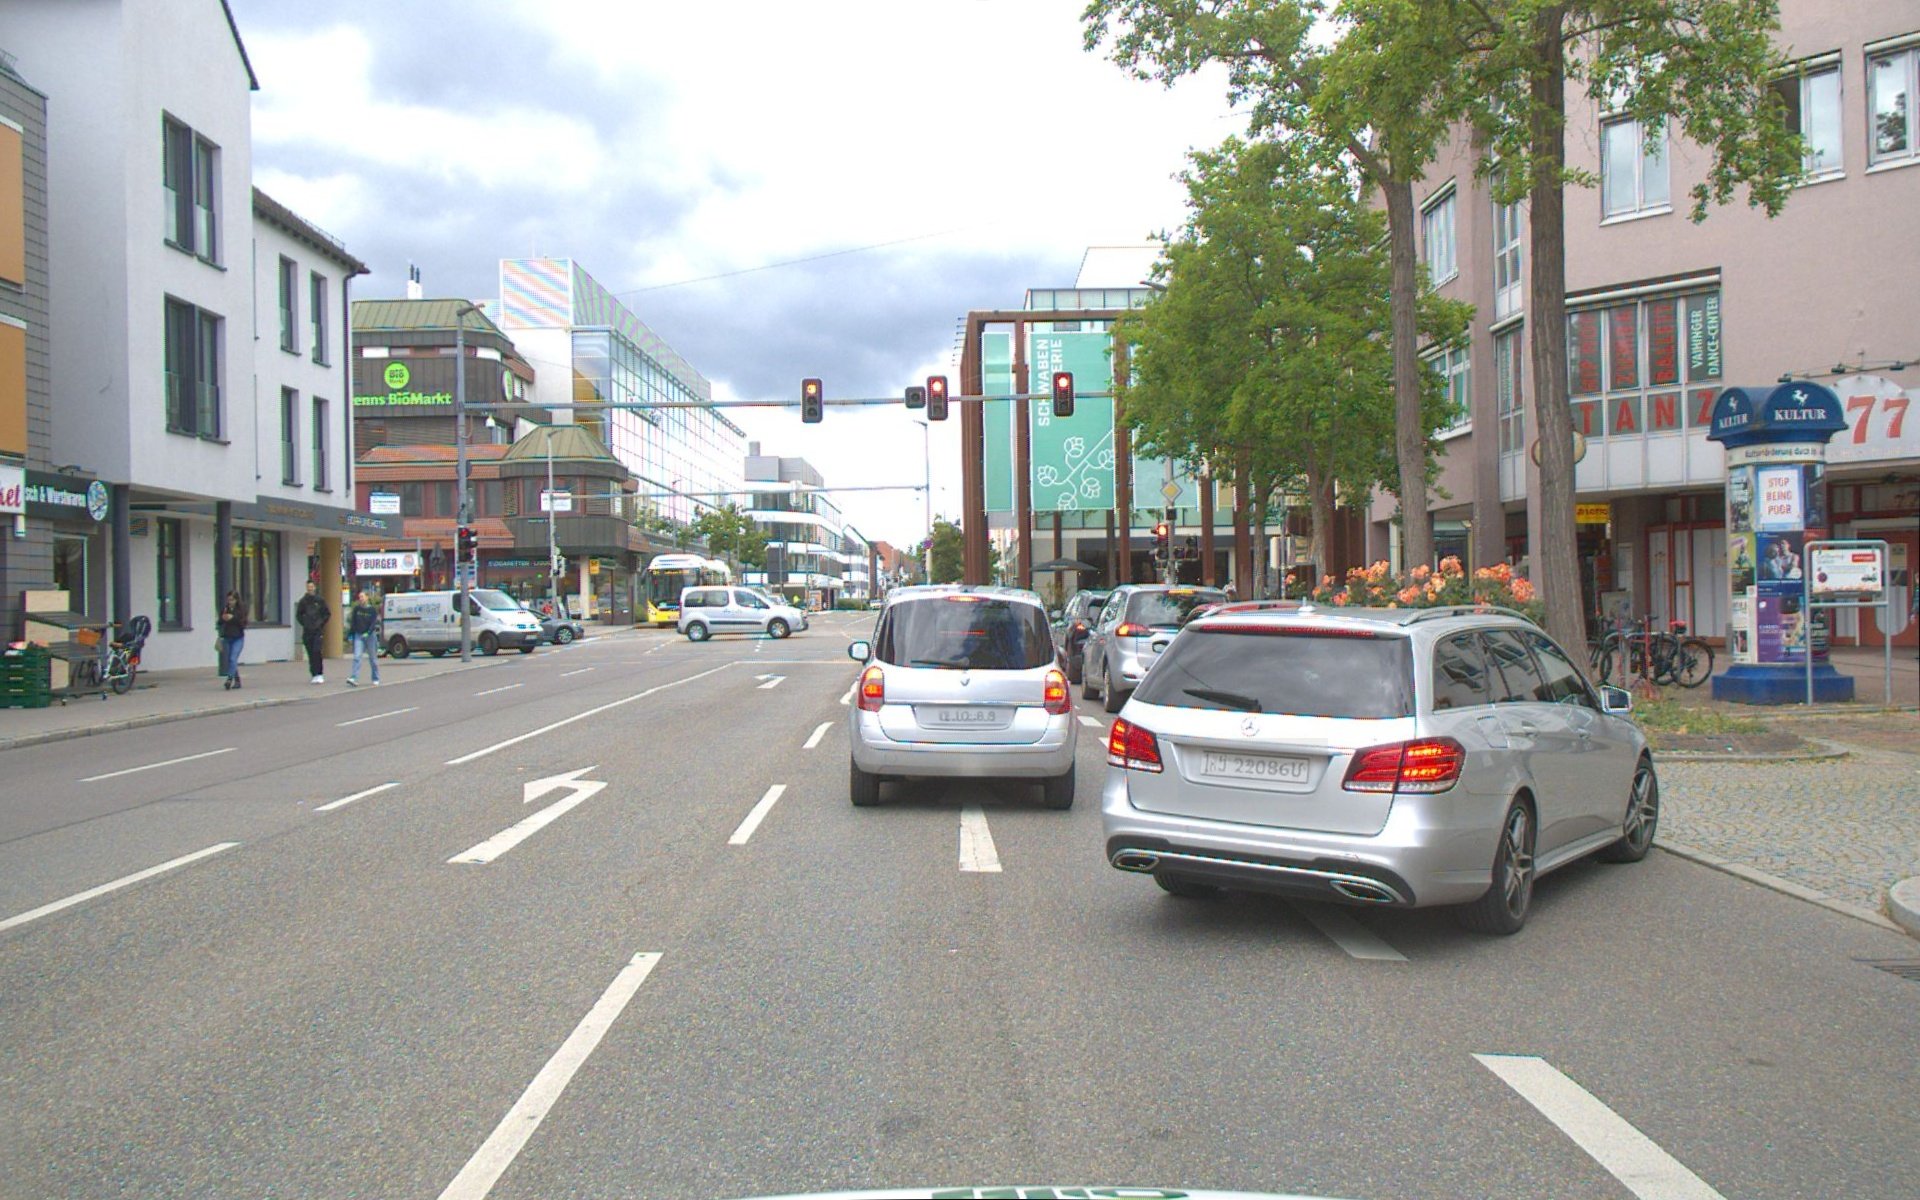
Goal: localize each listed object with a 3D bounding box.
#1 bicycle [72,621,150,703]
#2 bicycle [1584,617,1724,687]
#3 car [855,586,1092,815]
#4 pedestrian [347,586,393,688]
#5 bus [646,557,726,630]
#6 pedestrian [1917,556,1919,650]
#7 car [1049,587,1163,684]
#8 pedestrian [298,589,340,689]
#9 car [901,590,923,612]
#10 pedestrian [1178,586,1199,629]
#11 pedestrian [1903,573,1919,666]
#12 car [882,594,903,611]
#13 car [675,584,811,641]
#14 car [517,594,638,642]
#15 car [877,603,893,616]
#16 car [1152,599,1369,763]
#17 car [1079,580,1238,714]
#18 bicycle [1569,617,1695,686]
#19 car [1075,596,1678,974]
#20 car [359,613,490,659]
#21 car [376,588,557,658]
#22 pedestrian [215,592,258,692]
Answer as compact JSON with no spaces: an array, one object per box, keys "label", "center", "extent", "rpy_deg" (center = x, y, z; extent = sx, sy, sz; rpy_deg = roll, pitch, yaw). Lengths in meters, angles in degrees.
[{"label":"bicycle","center":[-13.399,0.962,26.142],"extent":[0.378,1.207,1.824],"rpy_deg":[-1,0,-4]},{"label":"bicycle","center":[10.357,0.773,24.706],"extent":[1.861,1.014,0.468],"rpy_deg":[-1,0,3]},{"label":"car","center":[0.065,0.677,12.958],"extent":[1.606,1.554,3.393],"rpy_deg":[0,0,-1]},{"label":"pedestrian","center":[-10.709,0.666,30.031],"extent":[0.669,1.821,0.647],"rpy_deg":[-1,0,-11]},{"label":"bus","center":[-13.122,-0.325,79.799],"extent":[2.632,3.318,8.650],"rpy_deg":[-1,0,-2]},{"label":"pedestrian","center":[16.660,0.040,28.035],"extent":[0.611,1.591,0.660],"rpy_deg":[-1,0,45]},{"label":"car","center":[2.584,0.594,29.953],"extent":[1.555,1.623,3.866],"rpy_deg":[1,0,-2]},{"label":"pedestrian","center":[-11.753,0.702,30.351],"extent":[0.558,1.806,0.646],"rpy_deg":[-1,0,-7]},{"label":"car","center":[-4.455,0.057,153.500],"extent":[1.953,1.983,4.949],"rpy_deg":[-1,0,-2]},{"label":"pedestrian","center":[9.016,0.305,65.278],"extent":[0.641,1.679,0.557],"rpy_deg":[-1,0,-15]},{"label":"pedestrian","center":[16.120,0.314,27.523],"extent":[0.611,1.542,0.607],"rpy_deg":[-1,0,43]},{"label":"car","center":[-6.579,0.218,161.935],"extent":[1.764,1.567,4.065],"rpy_deg":[-1,0,1]},{"label":"car","center":[-7.158,0.402,54.765],"extent":[4.296,1.804,1.327],"rpy_deg":[-1,0,-1]},{"label":"car","center":[-14.215,0.656,61.680],"extent":[1.885,1.706,4.225],"rpy_deg":[-1,0,36]},{"label":"car","center":[-9.688,1.224,213.424],"extent":[1.764,1.567,4.065],"rpy_deg":[-1,0,1]},{"label":"car","center":[2.962,0.746,16.883],"extent":[1.554,1.468,3.348],"rpy_deg":[1,0,-1]},{"label":"car","center":[2.642,0.587,22.776],"extent":[1.555,1.662,3.914],"rpy_deg":[1,0,-2]},{"label":"bicycle","center":[10.254,0.790,25.259],"extent":[1.731,1.014,0.447],"rpy_deg":[-1,0,3]},{"label":"car","center":[2.480,0.761,8.896],"extent":[1.783,1.474,4.355],"rpy_deg":[1,0,34]},{"label":"car","center":[-17.666,1.183,54.692],"extent":[3.752,1.413,1.684],"rpy_deg":[-1,0,0]},{"label":"car","center":[-14.870,0.691,49.836],"extent":[5.036,1.921,2.000],"rpy_deg":[-2,0,22]},{"label":"pedestrian","center":[-12.431,0.712,28.407],"extent":[0.643,1.679,0.555],"rpy_deg":[-1,0,-25]}]
